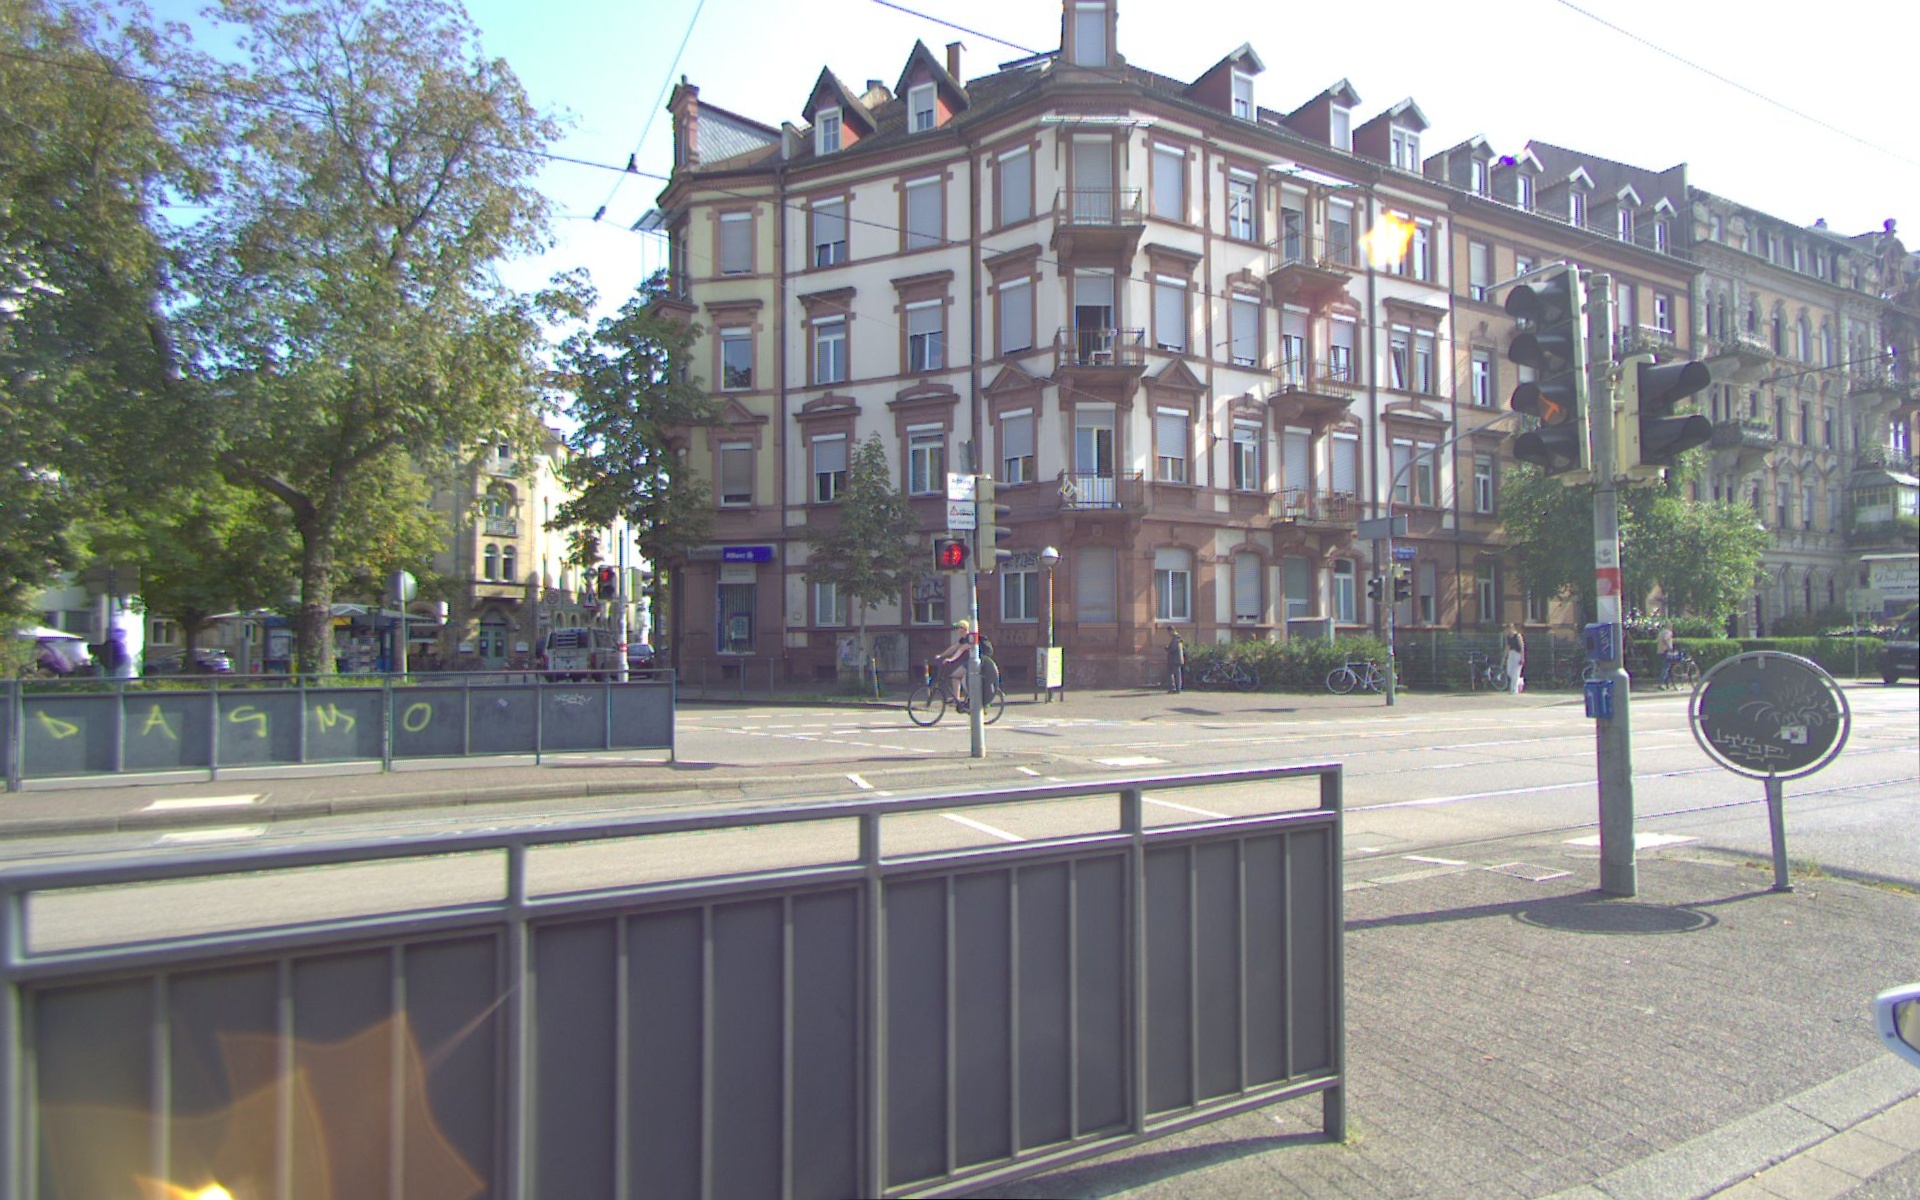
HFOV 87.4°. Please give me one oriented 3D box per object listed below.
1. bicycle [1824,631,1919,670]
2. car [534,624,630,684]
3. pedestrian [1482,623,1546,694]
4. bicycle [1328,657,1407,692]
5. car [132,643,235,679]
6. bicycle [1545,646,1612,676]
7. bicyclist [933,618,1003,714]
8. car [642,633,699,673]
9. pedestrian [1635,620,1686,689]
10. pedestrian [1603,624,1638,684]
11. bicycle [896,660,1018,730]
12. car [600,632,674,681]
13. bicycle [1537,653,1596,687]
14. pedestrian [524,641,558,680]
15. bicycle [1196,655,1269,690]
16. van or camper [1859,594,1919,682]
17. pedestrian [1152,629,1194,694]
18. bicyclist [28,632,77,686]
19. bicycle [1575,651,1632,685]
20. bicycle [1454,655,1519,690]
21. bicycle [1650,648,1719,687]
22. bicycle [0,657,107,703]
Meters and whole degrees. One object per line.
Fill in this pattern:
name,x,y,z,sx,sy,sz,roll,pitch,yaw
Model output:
bicycle,35.706,1.945,39.198,0.987,1.474,2.858,1,-2,-33
car,-13.711,1.941,36.773,2.040,2.043,4.590,0,-2,-4
pedestrian,14.252,1.495,25.847,1.169,1.789,0.902,1,-2,-24
bicycle,10.417,1.913,25.701,1.791,0.871,0.528,-1,-2,11
car,-42.413,3.328,54.936,3.924,1.873,1.999,0,-2,-6
bicycle,18.509,1.818,30.085,0.521,0.871,1.691,0,-2,-26
bicyclist,0.139,1.136,17.613,1.030,1.635,0.671,1,-2,-25
car,-15.548,2.852,54.229,2.040,2.043,4.590,0,-2,-4
pedestrian,19.203,1.484,27.531,1.080,1.830,0.724,1,-2,-29
pedestrian,18.771,1.532,28.560,0.628,1.700,0.632,1,-3,-39
bicycle,-0.048,1.626,17.509,2.041,1.118,0.682,1,-2,-26
car,-14.180,2.444,44.380,2.040,2.043,4.590,0,-2,-4
bicycle,16.728,1.923,27.684,1.679,0.871,0.525,0,-2,-25
pedestrian,-17.044,2.450,40.876,0.979,1.574,1.113,0,-1,-8
bicycle,7.079,1.891,26.193,1.791,0.871,0.528,-1,-2,11
van or camper,31.734,1.240,31.989,5.998,2.678,2.048,1,-3,-21
pedestrian,5.364,1.539,25.323,0.926,1.591,0.843,-1,-2,6
bicyclist,-23.603,1.531,26.138,0.644,1.378,0.758,-1,-2,28
bicycle,18.221,1.914,28.436,1.679,0.939,0.525,0,-2,-25
bicycle,14.002,1.909,26.715,1.803,0.871,0.525,0,-2,-25
bicycle,19.623,1.815,27.194,2.123,1.020,0.616,1,-2,-28
bicycle,-23.604,2.054,26.121,0.644,1.118,2.070,-2,-3,28
